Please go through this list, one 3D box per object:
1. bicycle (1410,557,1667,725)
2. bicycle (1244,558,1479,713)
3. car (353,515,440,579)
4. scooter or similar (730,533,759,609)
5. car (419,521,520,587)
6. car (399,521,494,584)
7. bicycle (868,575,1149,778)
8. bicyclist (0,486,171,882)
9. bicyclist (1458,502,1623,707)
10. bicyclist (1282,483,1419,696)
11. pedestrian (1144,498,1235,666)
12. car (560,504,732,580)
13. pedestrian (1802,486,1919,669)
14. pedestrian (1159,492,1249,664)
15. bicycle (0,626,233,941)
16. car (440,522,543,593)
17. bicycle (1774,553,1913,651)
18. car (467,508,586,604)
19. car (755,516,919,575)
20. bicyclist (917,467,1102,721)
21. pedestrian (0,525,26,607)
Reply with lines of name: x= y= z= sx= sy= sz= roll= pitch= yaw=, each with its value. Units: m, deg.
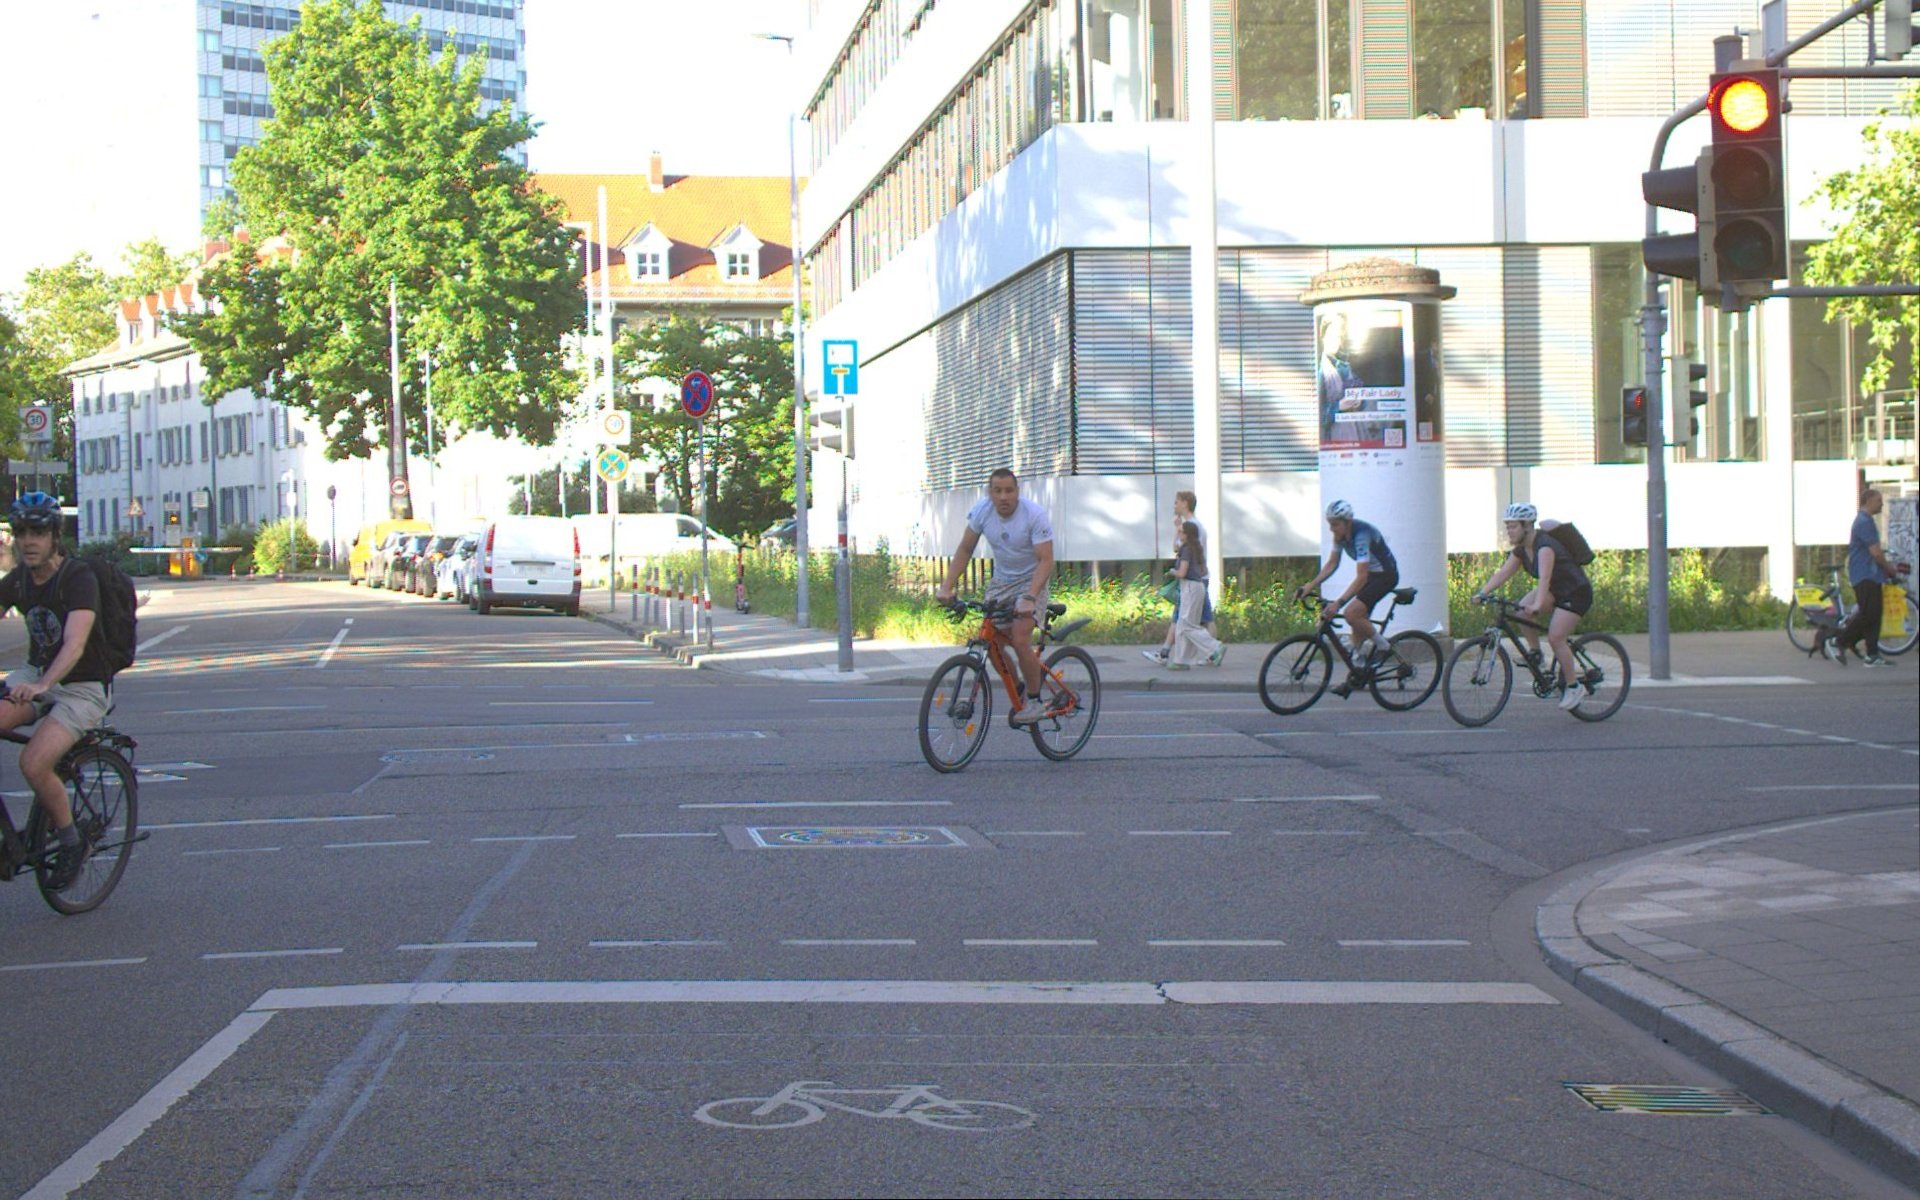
bicycle: x=4.185 y=0.280 z=24.865 sx=1.778 sy=1.148 sz=0.628 roll=-2 pitch=1 yaw=-25
bicycle: x=3.141 y=0.261 z=26.860 sx=1.778 sy=1.148 sz=0.628 roll=-2 pitch=1 yaw=-29
car: x=-15.736 y=-1.472 z=95.857 sx=1.993 sy=1.719 sz=4.653 roll=1 pitch=1 yaw=-14
scooter or similar: x=-3.656 y=-0.499 z=58.315 sx=0.437 sy=1.252 sz=1.420 roll=-1 pitch=1 yaw=-4
car: x=-11.624 y=-1.076 z=81.278 sx=1.993 sy=1.493 sz=4.288 roll=1 pitch=1 yaw=-13
car: x=-12.877 y=-1.181 z=86.002 sx=1.993 sy=1.493 sz=4.653 roll=1 pitch=1 yaw=-13
bicycle: x=0.322 y=0.445 z=21.156 sx=0.627 sy=1.148 sz=1.965 roll=0 pitch=2 yaw=39
bicyclist: x=-3.736 y=0.310 z=13.787 sx=0.591 sy=1.522 sz=1.078 roll=-1 pitch=1 yaw=21
bicyclist: x=4.196 y=0.025 z=24.853 sx=0.971 sy=1.441 sz=0.628 roll=-2 pitch=1 yaw=-25
bicyclist: x=3.042 y=-0.091 z=26.797 sx=0.823 sy=1.623 sz=0.628 roll=-2 pitch=1 yaw=-29
pedestrian: x=2.374 y=-0.187 z=35.534 sx=0.765 sy=1.713 sz=0.647 roll=1 pitch=0 yaw=19
car: x=-9.400 y=-1.727 z=102.954 sx=4.791 sy=2.151 sz=2.001 roll=1 pitch=0 yaw=-17
pedestrian: x=9.079 y=-0.233 z=34.563 sx=0.916 sy=1.809 sz=0.760 roll=1 pitch=1 yaw=41
pedestrian: x=2.579 y=-0.238 z=36.308 sx=0.766 sy=1.789 sz=0.647 roll=1 pitch=0 yaw=21
bicycle: x=-3.722 y=0.712 z=13.787 sx=0.591 sy=1.148 sz=1.968 roll=0 pitch=1 yaw=21
car: x=-10.502 y=-0.949 z=76.831 sx=1.993 sy=1.493 sz=4.653 roll=1 pitch=1 yaw=-11
bicycle: x=9.288 y=0.018 z=36.172 sx=0.378 sy=1.005 sz=1.432 roll=-2 pitch=2 yaw=-42
car: x=-8.216 y=-0.827 z=64.846 sx=1.993 sy=1.719 sz=4.653 roll=1 pitch=1 yaw=-10
car: x=-3.753 y=-1.655 z=104.798 sx=4.635 sy=1.719 sz=2.001 roll=1 pitch=1 yaw=-16
bicyclist: x=0.309 y=-0.048 z=21.156 sx=0.703 sy=1.517 sz=0.916 roll=0 pitch=2 yaw=39
pedestrian: x=-18.477 y=-0.655 z=66.660 sx=0.699 sy=1.581 sz=0.637 roll=1 pitch=0 yaw=-16
